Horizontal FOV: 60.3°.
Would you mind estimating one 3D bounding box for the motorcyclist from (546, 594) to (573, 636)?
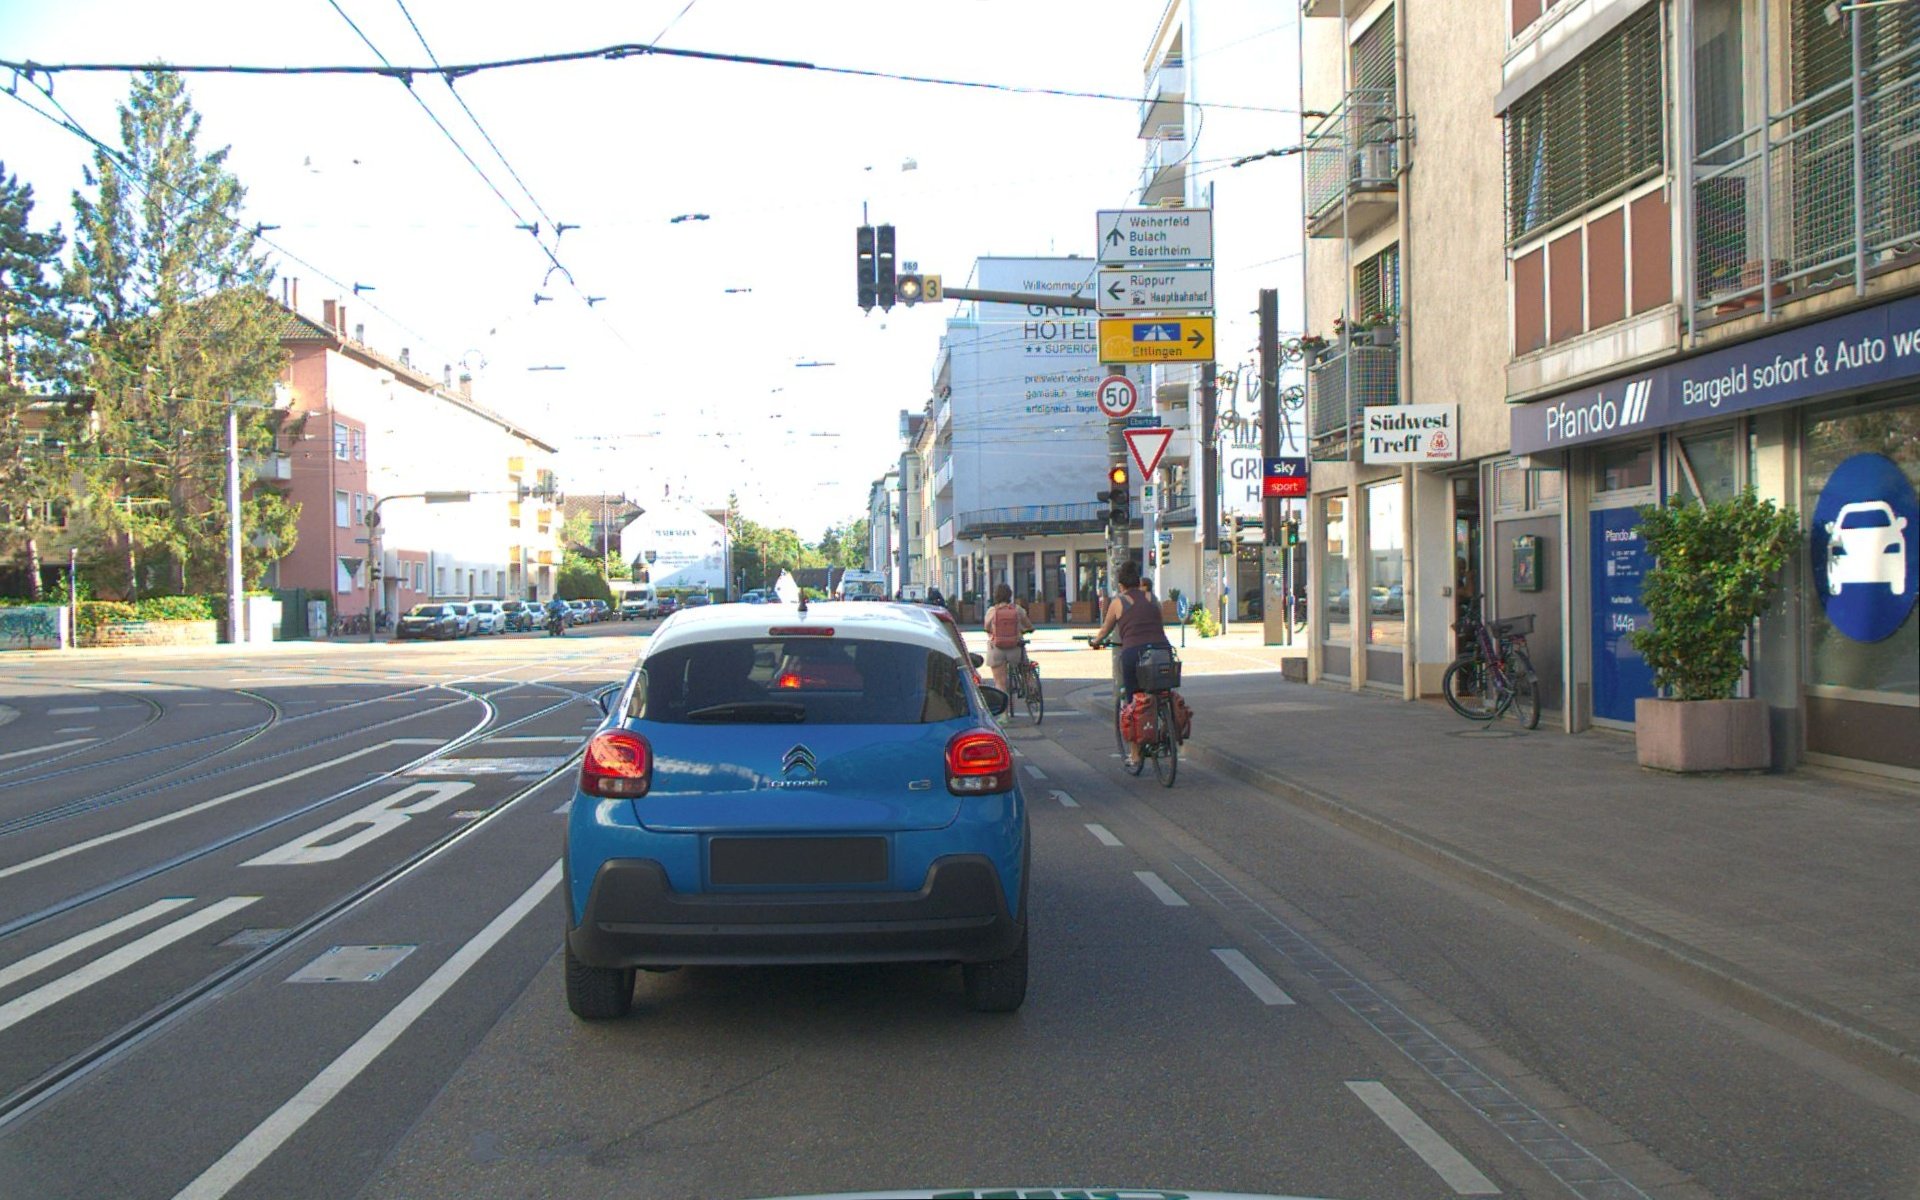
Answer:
[{"bbox_3d":[-16.207,0.608,66.952,0.973,1.659,0.737,-1,0,-10],"label":"motorcyclist"}]

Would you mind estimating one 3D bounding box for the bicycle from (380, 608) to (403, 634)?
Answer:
[{"bbox_3d":[-25.674,0.942,74.691,0.597,1.101,1.908,-1,0,-7],"label":"bicycle"}]

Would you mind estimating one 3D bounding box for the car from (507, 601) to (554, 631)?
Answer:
[{"bbox_3d":[-23.766,0.857,91.567,1.913,1.545,3.995,-1,0,-6],"label":"car"}]

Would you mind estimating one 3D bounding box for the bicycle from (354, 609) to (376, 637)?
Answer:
[{"bbox_3d":[-24.232,0.937,67.415,0.527,1.101,1.905,-1,0,-11],"label":"bicycle"}]

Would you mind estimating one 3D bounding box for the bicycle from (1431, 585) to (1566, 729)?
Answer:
[{"bbox_3d":[5.112,0.505,15.819,0.627,1.286,1.910,-1,0,-1],"label":"bicycle"}]

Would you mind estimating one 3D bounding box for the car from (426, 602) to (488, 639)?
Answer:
[{"bbox_3d":[-22.556,0.877,74.255,1.913,1.545,4.040,-1,0,-6],"label":"car"}]

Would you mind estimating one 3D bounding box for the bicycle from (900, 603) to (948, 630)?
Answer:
[{"bbox_3d":[-1.448,0.666,67.084,1.868,1.083,0.641,-1,0,-8],"label":"bicycle"}]

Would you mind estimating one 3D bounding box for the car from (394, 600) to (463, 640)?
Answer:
[{"bbox_3d":[-22.017,0.792,68.650,1.913,1.545,3.995,-1,0,-6],"label":"car"}]

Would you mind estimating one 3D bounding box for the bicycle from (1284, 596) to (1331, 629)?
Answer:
[{"bbox_3d":[11.973,0.439,56.959,1.464,1.110,0.603,-1,0,37],"label":"bicycle"}]

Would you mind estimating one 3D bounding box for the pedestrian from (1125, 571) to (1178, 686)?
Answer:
[{"bbox_3d":[2.824,0.412,24.407,0.735,1.663,0.740,-1,0,5],"label":"pedestrian"}]

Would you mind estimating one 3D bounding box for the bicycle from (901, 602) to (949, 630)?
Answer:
[{"bbox_3d":[-1.395,0.641,65.779,1.868,1.083,0.641,-1,0,-8],"label":"bicycle"}]

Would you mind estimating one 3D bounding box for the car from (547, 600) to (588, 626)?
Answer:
[{"bbox_3d":[-24.411,0.810,102.988,1.913,1.545,3.995,-1,0,-6],"label":"car"}]

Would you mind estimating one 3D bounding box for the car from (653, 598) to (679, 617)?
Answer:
[{"bbox_3d":[-25.578,0.646,144.164,1.913,1.545,3.995,-1,0,-6],"label":"car"}]

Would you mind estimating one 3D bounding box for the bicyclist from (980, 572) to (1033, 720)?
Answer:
[{"bbox_3d":[0.567,0.552,20.595,0.588,1.776,1.084,-1,0,-1],"label":"bicyclist"}]

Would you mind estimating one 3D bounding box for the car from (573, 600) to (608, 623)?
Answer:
[{"bbox_3d":[-25.569,0.791,114.592,1.913,1.545,3.995,-1,0,-6],"label":"car"}]

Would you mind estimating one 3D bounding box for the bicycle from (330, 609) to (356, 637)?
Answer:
[{"bbox_3d":[-24.984,0.919,66.990,0.628,1.101,1.905,-1,0,-11],"label":"bicycle"}]

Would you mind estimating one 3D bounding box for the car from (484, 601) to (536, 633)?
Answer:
[{"bbox_3d":[-23.236,0.841,85.517,1.913,1.545,3.995,-1,0,-6],"label":"car"}]

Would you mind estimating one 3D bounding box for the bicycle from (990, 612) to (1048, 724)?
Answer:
[{"bbox_3d":[0.720,0.814,20.636,0.601,1.286,1.910,-1,0,-1],"label":"bicycle"}]

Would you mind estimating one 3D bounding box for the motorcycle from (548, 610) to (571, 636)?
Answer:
[{"bbox_3d":[-16.227,0.940,67.020,0.738,0.993,2.092,-1,0,-9],"label":"motorcycle"}]

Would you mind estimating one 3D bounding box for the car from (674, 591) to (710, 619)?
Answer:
[{"bbox_3d":[-16.544,0.309,102.180,1.967,1.656,5.045,-1,0,-7],"label":"car"}]

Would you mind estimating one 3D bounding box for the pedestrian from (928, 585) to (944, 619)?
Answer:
[{"bbox_3d":[-1.012,0.090,70.237,0.514,1.445,0.547,-1,0,19],"label":"pedestrian"}]

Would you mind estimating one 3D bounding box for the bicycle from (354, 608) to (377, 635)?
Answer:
[{"bbox_3d":[-25.876,0.928,71.986,0.527,1.101,1.908,-1,0,-7],"label":"bicycle"}]

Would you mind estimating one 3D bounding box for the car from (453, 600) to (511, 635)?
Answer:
[{"bbox_3d":[-22.758,0.821,78.860,1.913,1.545,3.995,-1,0,-6],"label":"car"}]

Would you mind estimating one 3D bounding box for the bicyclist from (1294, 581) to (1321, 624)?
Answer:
[{"bbox_3d":[11.977,0.098,56.962,0.715,1.459,0.603,-1,0,37],"label":"bicyclist"}]

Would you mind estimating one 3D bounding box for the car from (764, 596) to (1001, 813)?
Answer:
[{"bbox_3d":[-0.680,0.727,13.558,1.647,1.488,3.997,1,0,-4],"label":"car"}]

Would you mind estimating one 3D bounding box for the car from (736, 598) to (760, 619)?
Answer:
[{"bbox_3d":[-21.815,0.811,170.491,2.293,2.074,5.044,-1,0,-6],"label":"car"}]

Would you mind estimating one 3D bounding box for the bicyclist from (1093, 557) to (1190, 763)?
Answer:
[{"bbox_3d":[1.505,0.484,13.783,0.605,1.658,0.758,-1,0,-9],"label":"bicyclist"}]

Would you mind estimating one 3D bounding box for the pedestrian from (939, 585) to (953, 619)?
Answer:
[{"bbox_3d":[-0.587,0.085,69.992,0.459,1.445,0.525,-1,0,-13],"label":"pedestrian"}]

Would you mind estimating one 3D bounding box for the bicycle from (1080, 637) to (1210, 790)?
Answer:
[{"bbox_3d":[1.509,0.898,13.803,0.605,1.123,1.882,-1,0,-8],"label":"bicycle"}]

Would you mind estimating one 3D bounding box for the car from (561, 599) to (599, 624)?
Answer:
[{"bbox_3d":[-24.853,0.751,108.262,1.913,1.545,3.995,-1,0,-6],"label":"car"}]

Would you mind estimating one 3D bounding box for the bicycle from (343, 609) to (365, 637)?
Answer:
[{"bbox_3d":[-24.590,0.929,67.115,0.527,1.101,1.905,-1,0,-11],"label":"bicycle"}]

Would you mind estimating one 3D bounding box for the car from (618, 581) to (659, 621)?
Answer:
[{"bbox_3d":[-23.227,0.070,119.576,2.446,2.759,5.828,-1,0,-7],"label":"car"}]

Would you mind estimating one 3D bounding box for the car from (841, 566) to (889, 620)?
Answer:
[{"bbox_3d":[-4.233,-0.317,73.177,2.039,2.309,5.646,0,0,-4],"label":"car"}]

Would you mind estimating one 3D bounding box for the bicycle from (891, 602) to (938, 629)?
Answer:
[{"bbox_3d":[-1.862,0.643,68.270,1.868,1.083,0.641,-1,0,-8],"label":"bicycle"}]

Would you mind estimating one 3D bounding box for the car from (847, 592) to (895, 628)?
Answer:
[{"bbox_3d":[-3.678,0.384,67.739,1.752,1.383,3.909,-1,0,-6],"label":"car"}]

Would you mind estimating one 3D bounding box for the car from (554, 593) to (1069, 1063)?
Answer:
[{"bbox_3d":[-0.613,0.731,7.350,1.647,1.488,3.997,1,0,-4],"label":"car"}]
